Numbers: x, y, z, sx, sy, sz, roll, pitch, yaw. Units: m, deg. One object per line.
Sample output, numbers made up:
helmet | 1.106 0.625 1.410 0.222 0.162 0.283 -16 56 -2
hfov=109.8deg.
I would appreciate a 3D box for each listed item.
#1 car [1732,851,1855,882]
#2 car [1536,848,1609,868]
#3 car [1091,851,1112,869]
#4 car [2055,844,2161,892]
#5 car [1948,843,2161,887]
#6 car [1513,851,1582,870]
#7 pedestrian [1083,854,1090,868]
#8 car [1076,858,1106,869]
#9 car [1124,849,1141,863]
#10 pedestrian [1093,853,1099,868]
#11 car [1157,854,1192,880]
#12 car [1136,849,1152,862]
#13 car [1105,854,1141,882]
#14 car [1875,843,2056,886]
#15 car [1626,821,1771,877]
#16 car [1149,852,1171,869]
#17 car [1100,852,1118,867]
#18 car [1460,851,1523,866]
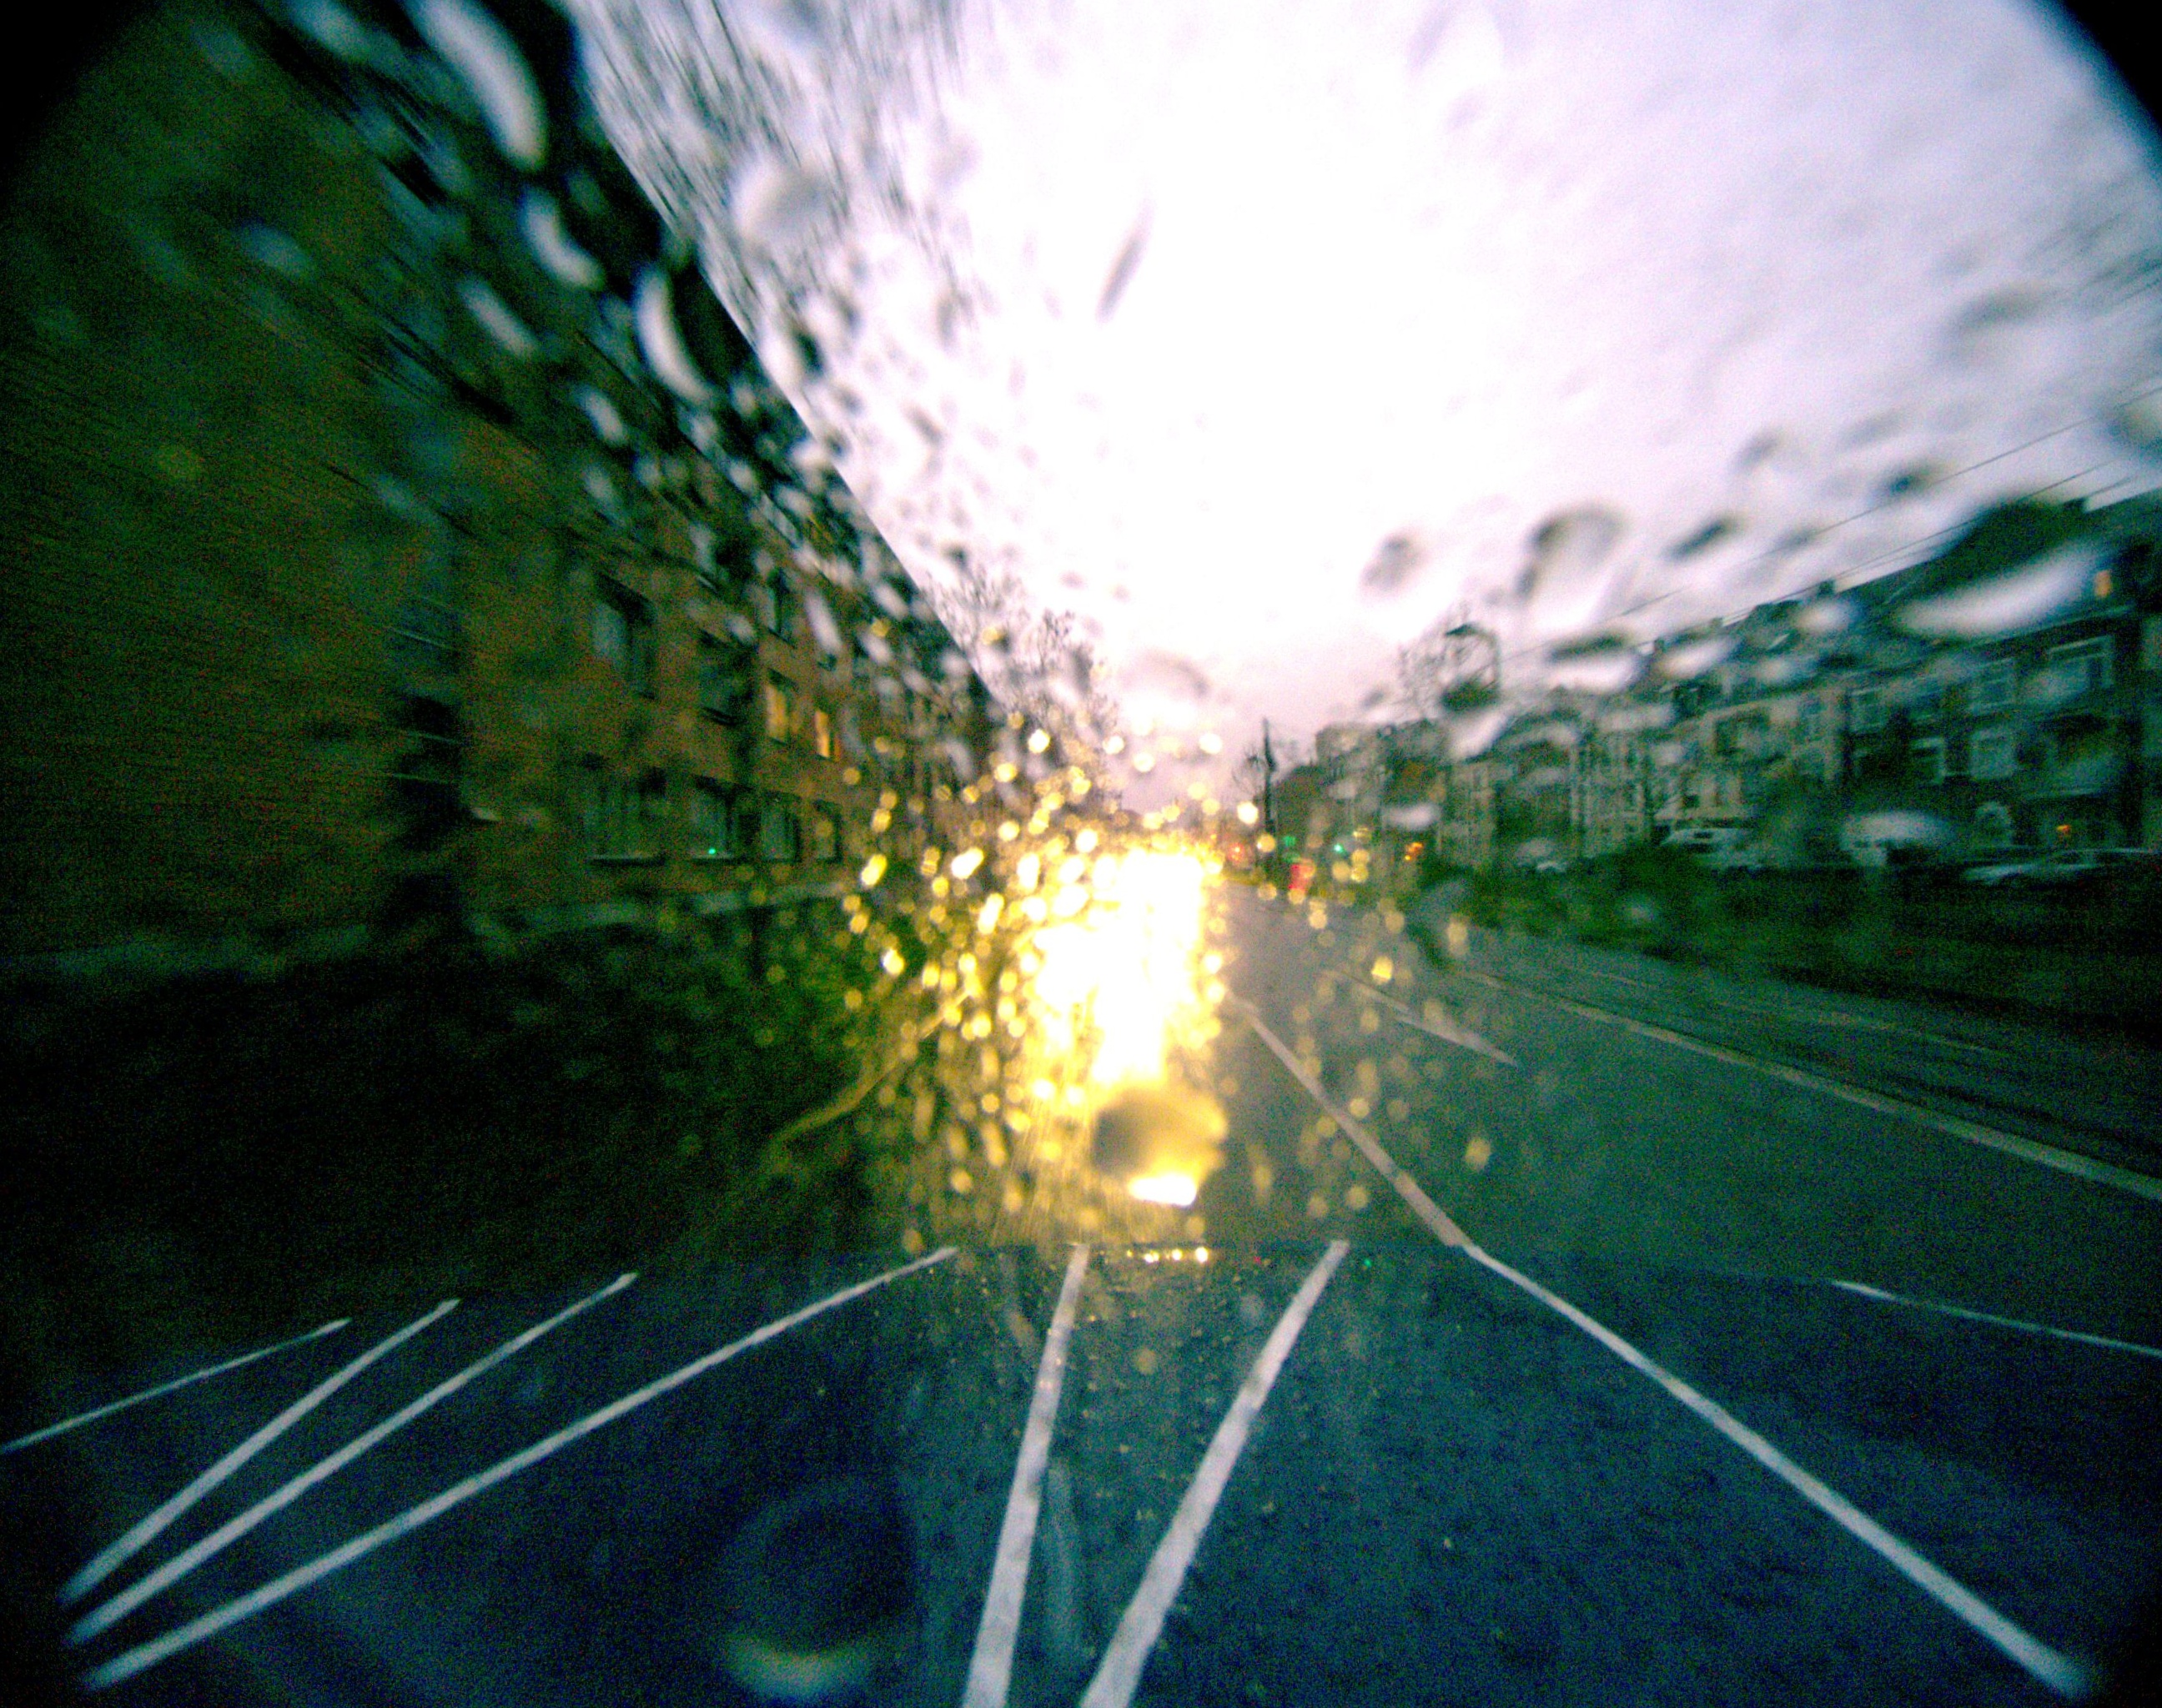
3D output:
car | 32.380 0.539 34.708 3.988 1.324 2.004 0 0 40
car | 33.018 0.263 51.044 3.988 1.324 2.004 0 0 37
car | 2.062 0.610 76.252 1.998 1.745 4.001 0 0 2
car | 30.881 0.384 21.342 3.988 1.324 2.004 0 0 40
car | 31.579 0.320 24.843 3.988 1.324 2.004 0 0 40
car | 33.408 0.473 54.414 3.988 1.324 2.004 0 0 38
pedestrian | 0.663 0.810 91.700 0.506 1.732 0.656 -1 1 -30
car | 1.347 1.278 102.846 3.996 1.546 1.742 0 1 3
car | 6.814 0.250 101.083 1.998 1.745 4.001 0 0 2
pedestrian | 1.870 0.799 93.748 0.506 1.814 0.656 -1 1 -24
car | 5.960 0.822 48.832 1.813 1.487 4.054 -2 0 2
car | 8.785 0.224 106.840 1.998 1.745 4.001 0 0 2
car | 2.259 0.714 41.241 1.813 1.384 4.054 -2 0 2
car | 32.254 0.361 27.917 3.988 1.477 2.004 0 0 37
car | 32.670 -0.240 40.357 5.850 2.781 2.004 0 1 44
car | 8.502 0.669 81.825 1.998 1.745 4.001 0 0 2
car | 3.283 0.684 88.282 1.998 1.693 4.001 0 0 2
car | 32.306 0.340 59.821 3.988 1.162 2.004 0 0 40
